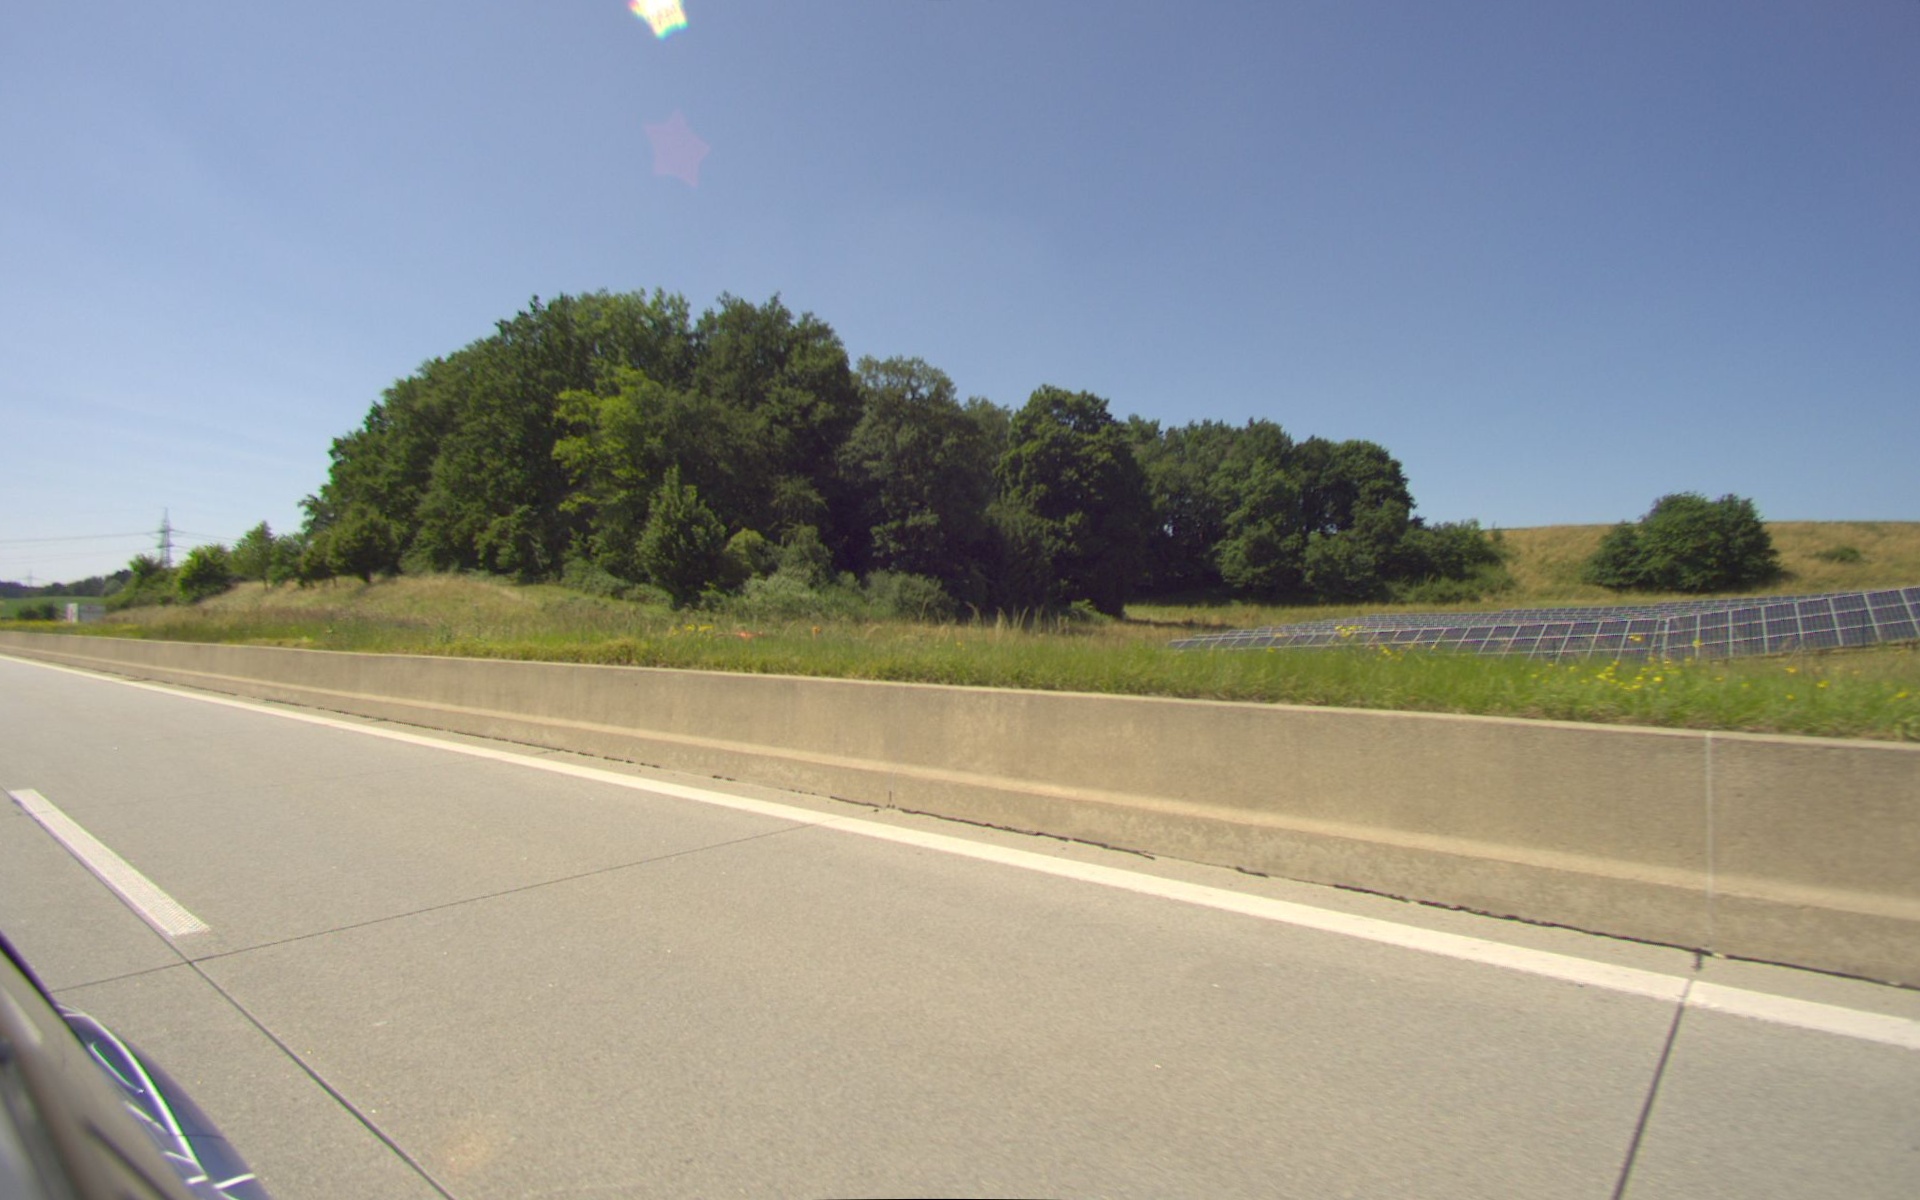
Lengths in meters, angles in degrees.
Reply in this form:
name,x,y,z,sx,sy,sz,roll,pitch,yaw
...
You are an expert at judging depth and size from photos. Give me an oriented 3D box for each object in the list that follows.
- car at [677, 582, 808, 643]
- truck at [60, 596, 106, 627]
name,x,y,z,sx,sy,sz,roll,pitch,yaw
car,-6.859,0.374,31.703,3.998,1.756,1.973,-1,1,41
truck,-100.022,1.312,115.348,8.256,3.378,2.864,-1,-2,41
